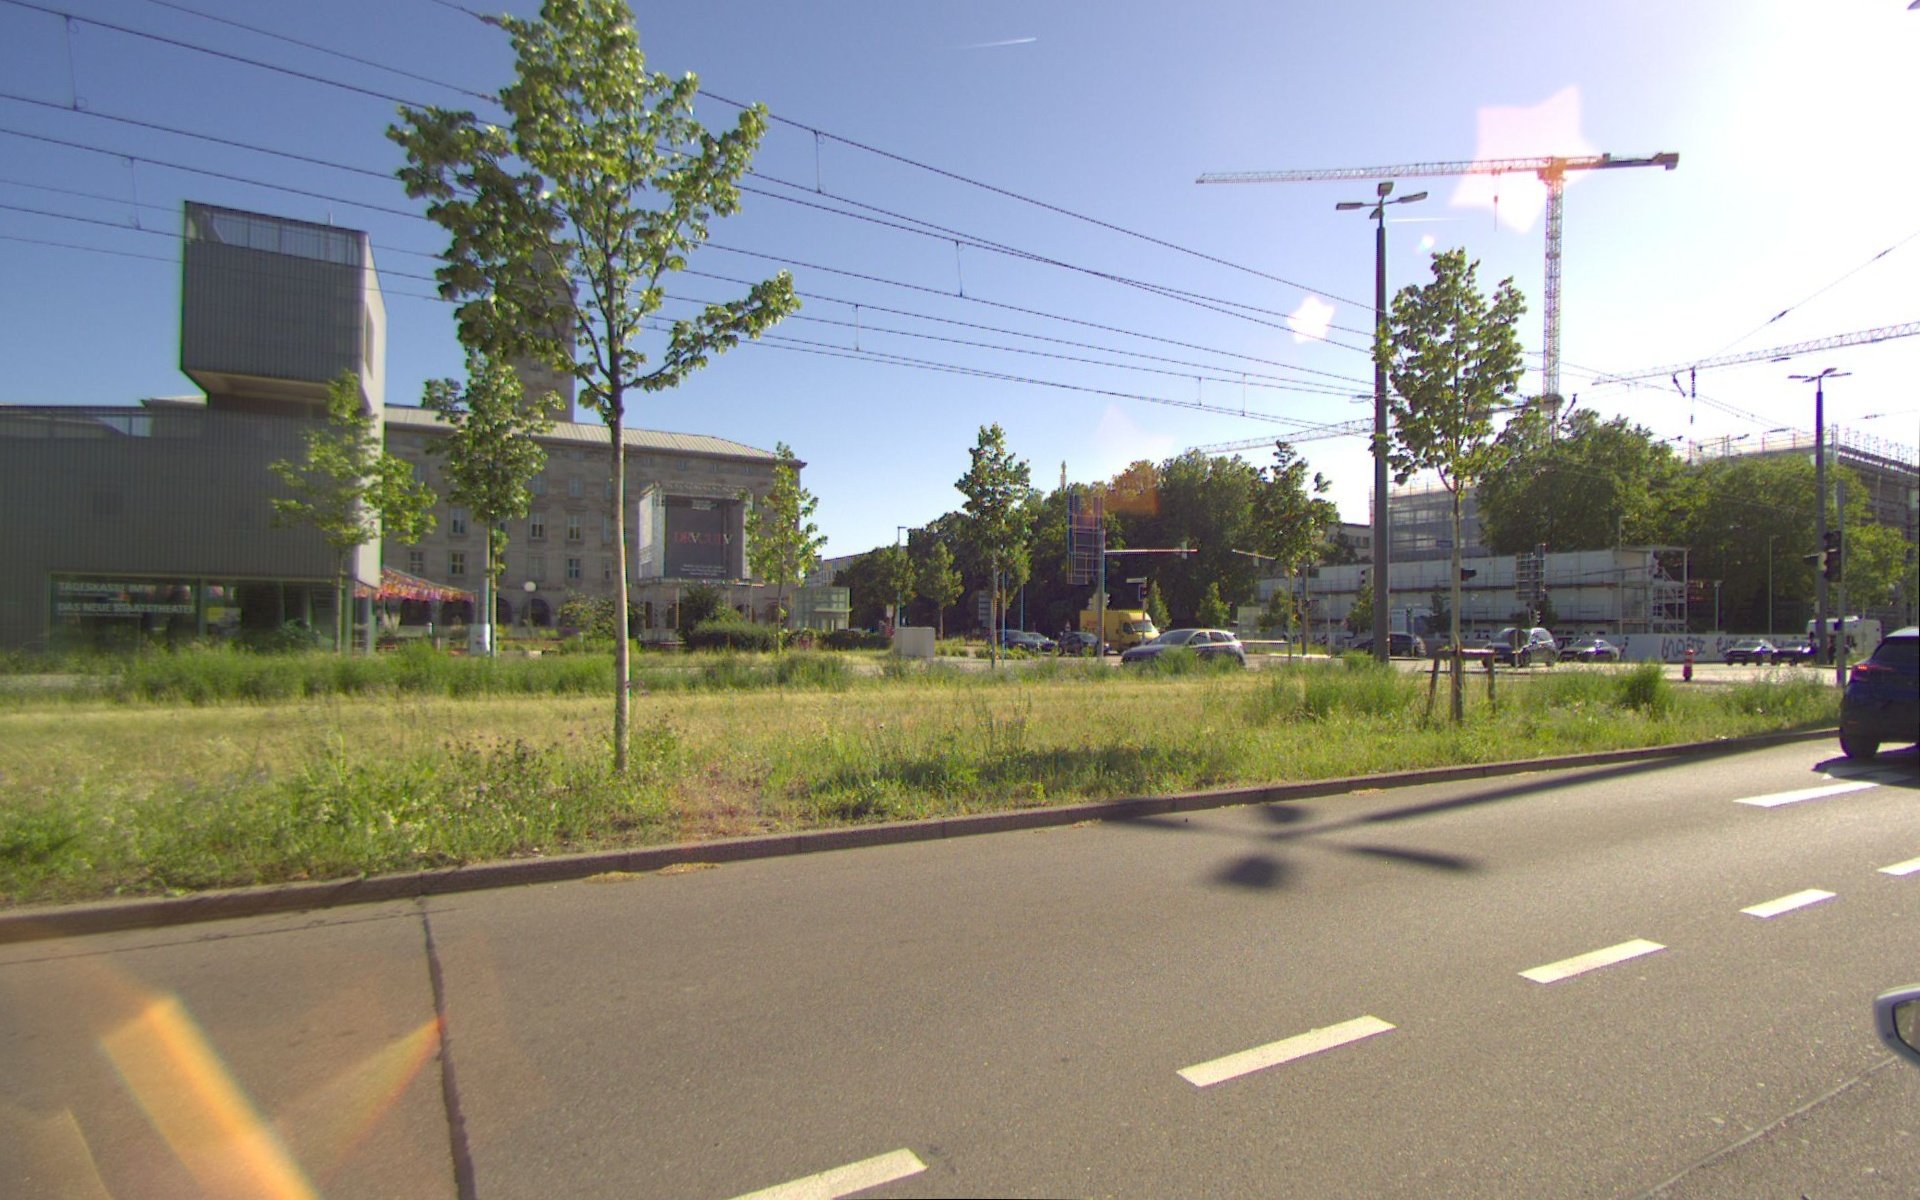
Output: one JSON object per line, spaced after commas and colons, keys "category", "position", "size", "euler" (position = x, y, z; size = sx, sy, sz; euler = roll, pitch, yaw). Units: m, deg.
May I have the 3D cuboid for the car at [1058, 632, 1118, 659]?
{"category": "car", "position": [7.844, 2.774, 61.993], "size": [1.878, 1.559, 3.975], "euler": [2, -2, -25]}

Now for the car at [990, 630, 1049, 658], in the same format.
{"category": "car", "position": [3.541, 2.595, 60.071], "size": [1.878, 1.559, 3.975], "euler": [2, -2, -25]}

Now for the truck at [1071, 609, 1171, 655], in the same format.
{"category": "truck", "position": [10.349, 2.050, 65.441], "size": [2.429, 2.829, 7.985], "euler": [1, -2, -25]}

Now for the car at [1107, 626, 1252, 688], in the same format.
{"category": "car", "position": [6.566, 1.672, 30.006], "size": [4.040, 1.711, 1.818], "euler": [1, -1, -28]}

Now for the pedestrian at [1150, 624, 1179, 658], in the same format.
{"category": "pedestrian", "position": [10.684, 2.120, 52.490], "size": [0.938, 1.708, 1.184], "euler": [0, 0, -34]}

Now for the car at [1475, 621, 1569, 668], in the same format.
{"category": "car", "position": [24.388, 1.913, 43.554], "size": [3.954, 1.981, 1.861], "euler": [1, -1, -31]}

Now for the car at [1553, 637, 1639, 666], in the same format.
{"category": "car", "position": [38.510, 3.112, 60.899], "size": [3.919, 1.622, 2.001], "euler": [1, -1, 5]}

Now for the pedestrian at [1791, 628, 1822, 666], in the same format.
{"category": "pedestrian", "position": [42.453, 2.349, 50.367], "size": [0.864, 1.847, 0.803], "euler": [1, -1, 2]}

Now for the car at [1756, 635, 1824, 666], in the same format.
{"category": "car", "position": [49.989, 3.029, 60.481], "size": [4.320, 1.730, 1.935], "euler": [2, -2, -33]}

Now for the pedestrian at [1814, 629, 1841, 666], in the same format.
{"category": "pedestrian", "position": [43.983, 2.411, 50.926], "size": [0.966, 1.847, 0.795], "euler": [1, -1, -33]}

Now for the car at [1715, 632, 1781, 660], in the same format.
{"category": "car", "position": [52.090, 3.049, 66.391], "size": [4.509, 1.730, 1.983], "euler": [2, -2, -32]}

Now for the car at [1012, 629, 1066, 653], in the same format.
{"category": "car", "position": [5.207, 2.700, 66.581], "size": [1.878, 1.559, 3.975], "euler": [2, -2, -25]}

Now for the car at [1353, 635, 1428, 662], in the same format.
{"category": "car", "position": [27.189, 3.032, 63.494], "size": [3.942, 1.622, 1.990], "euler": [-1, -2, 42]}

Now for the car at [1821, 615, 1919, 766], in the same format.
{"category": "car", "position": [12.129, 1.048, 11.876], "size": [4.041, 1.609, 1.761], "euler": [2, 0, -31]}

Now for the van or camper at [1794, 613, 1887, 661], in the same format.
{"category": "van or camper", "position": [56.845, 2.400, 64.805], "size": [7.262, 2.976, 2.591], "euler": [2, -2, -33]}
